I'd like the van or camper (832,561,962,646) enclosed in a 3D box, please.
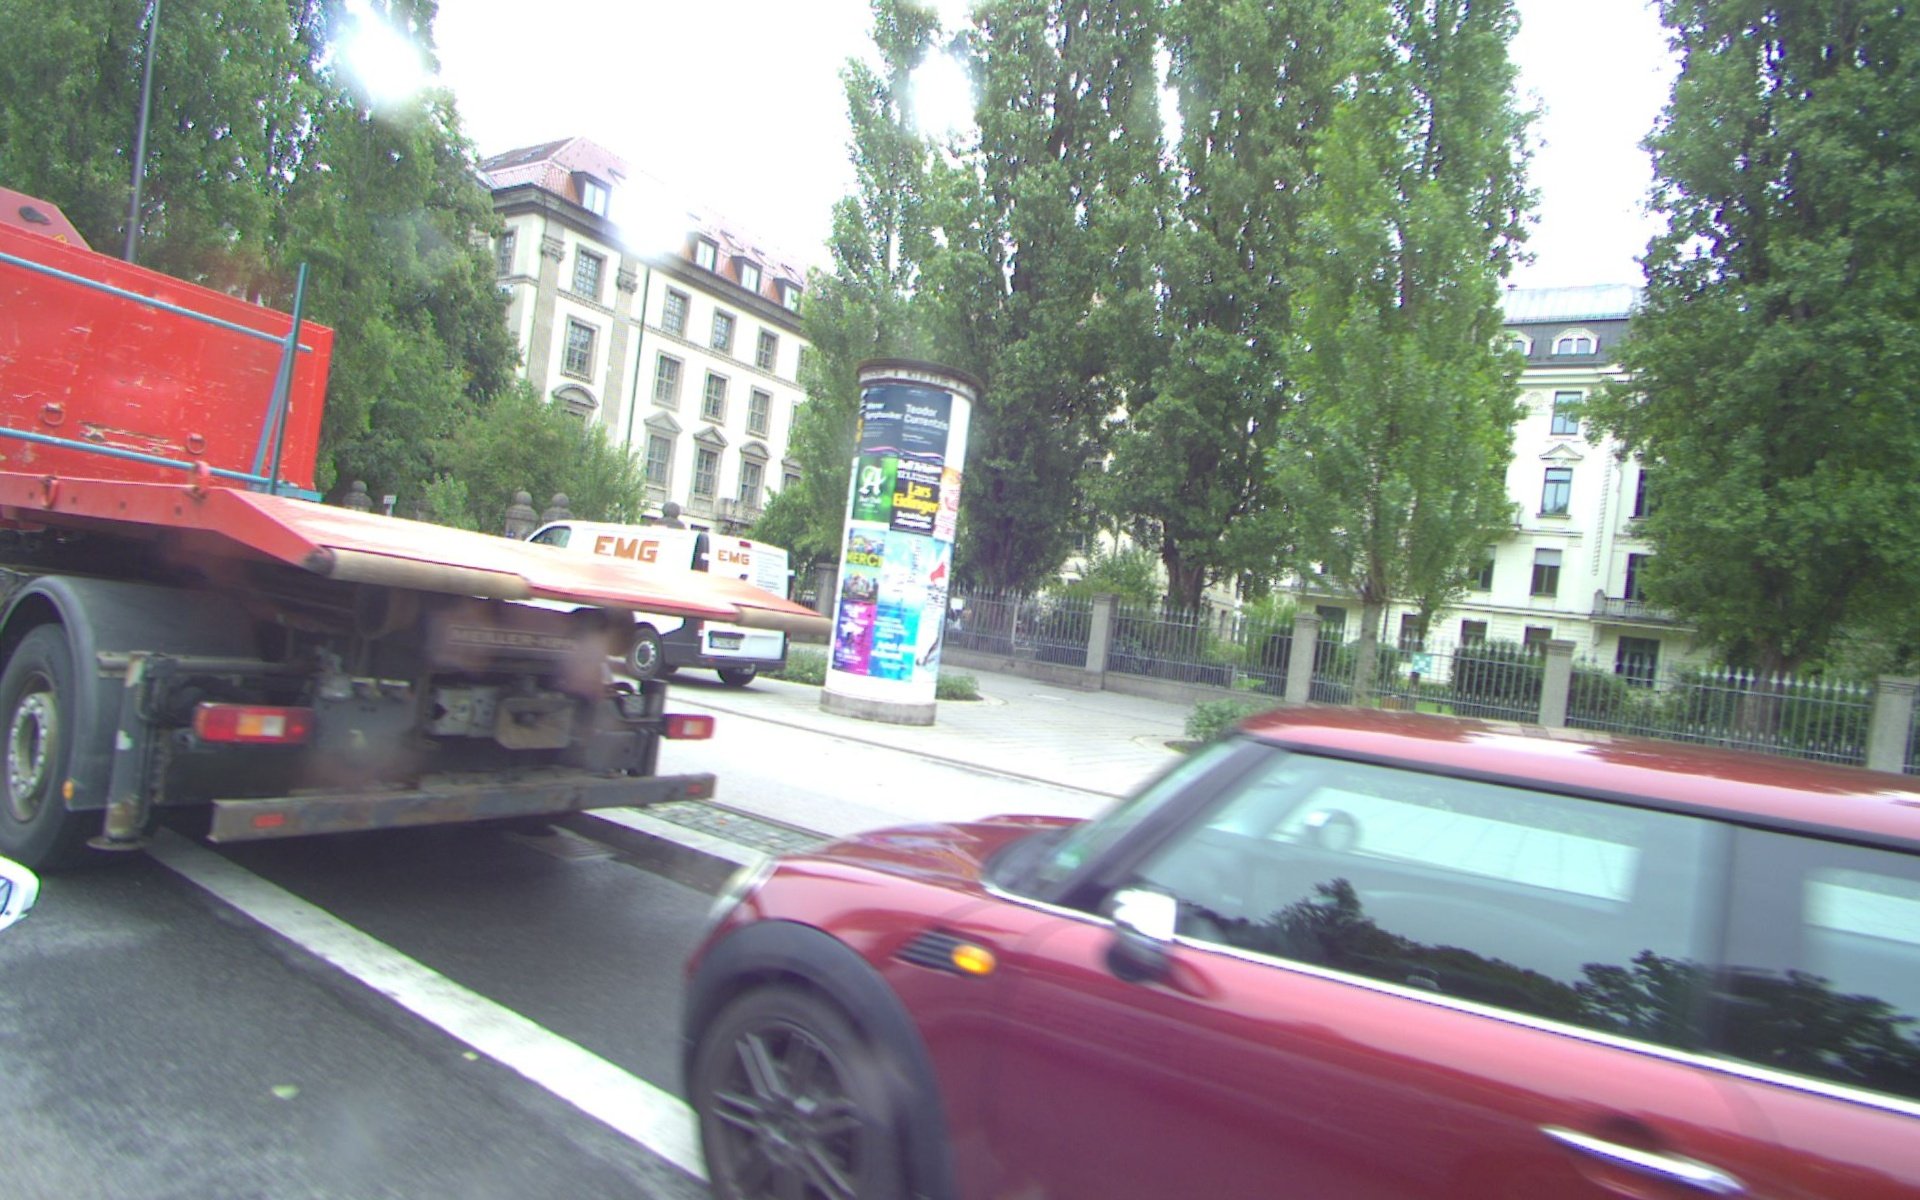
[{"bbox_3d":[-2.380,0.222,39.564,2.212,2.739,5.216,7,0,32],"label":"van or camper"}]

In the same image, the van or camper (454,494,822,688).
[{"bbox_3d":[-4.590,-0.166,14.115,4.903,2.037,2.007,7,-1,31],"label":"van or camper"}]

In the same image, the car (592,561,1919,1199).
[{"bbox_3d":[1.060,0.888,2.289,3.592,1.487,1.563,7,0,32],"label":"car"}]

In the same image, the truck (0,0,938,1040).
[{"bbox_3d":[-5.328,-0.990,6.614,10.108,3.607,2.850,7,-1,32],"label":"truck"}]
